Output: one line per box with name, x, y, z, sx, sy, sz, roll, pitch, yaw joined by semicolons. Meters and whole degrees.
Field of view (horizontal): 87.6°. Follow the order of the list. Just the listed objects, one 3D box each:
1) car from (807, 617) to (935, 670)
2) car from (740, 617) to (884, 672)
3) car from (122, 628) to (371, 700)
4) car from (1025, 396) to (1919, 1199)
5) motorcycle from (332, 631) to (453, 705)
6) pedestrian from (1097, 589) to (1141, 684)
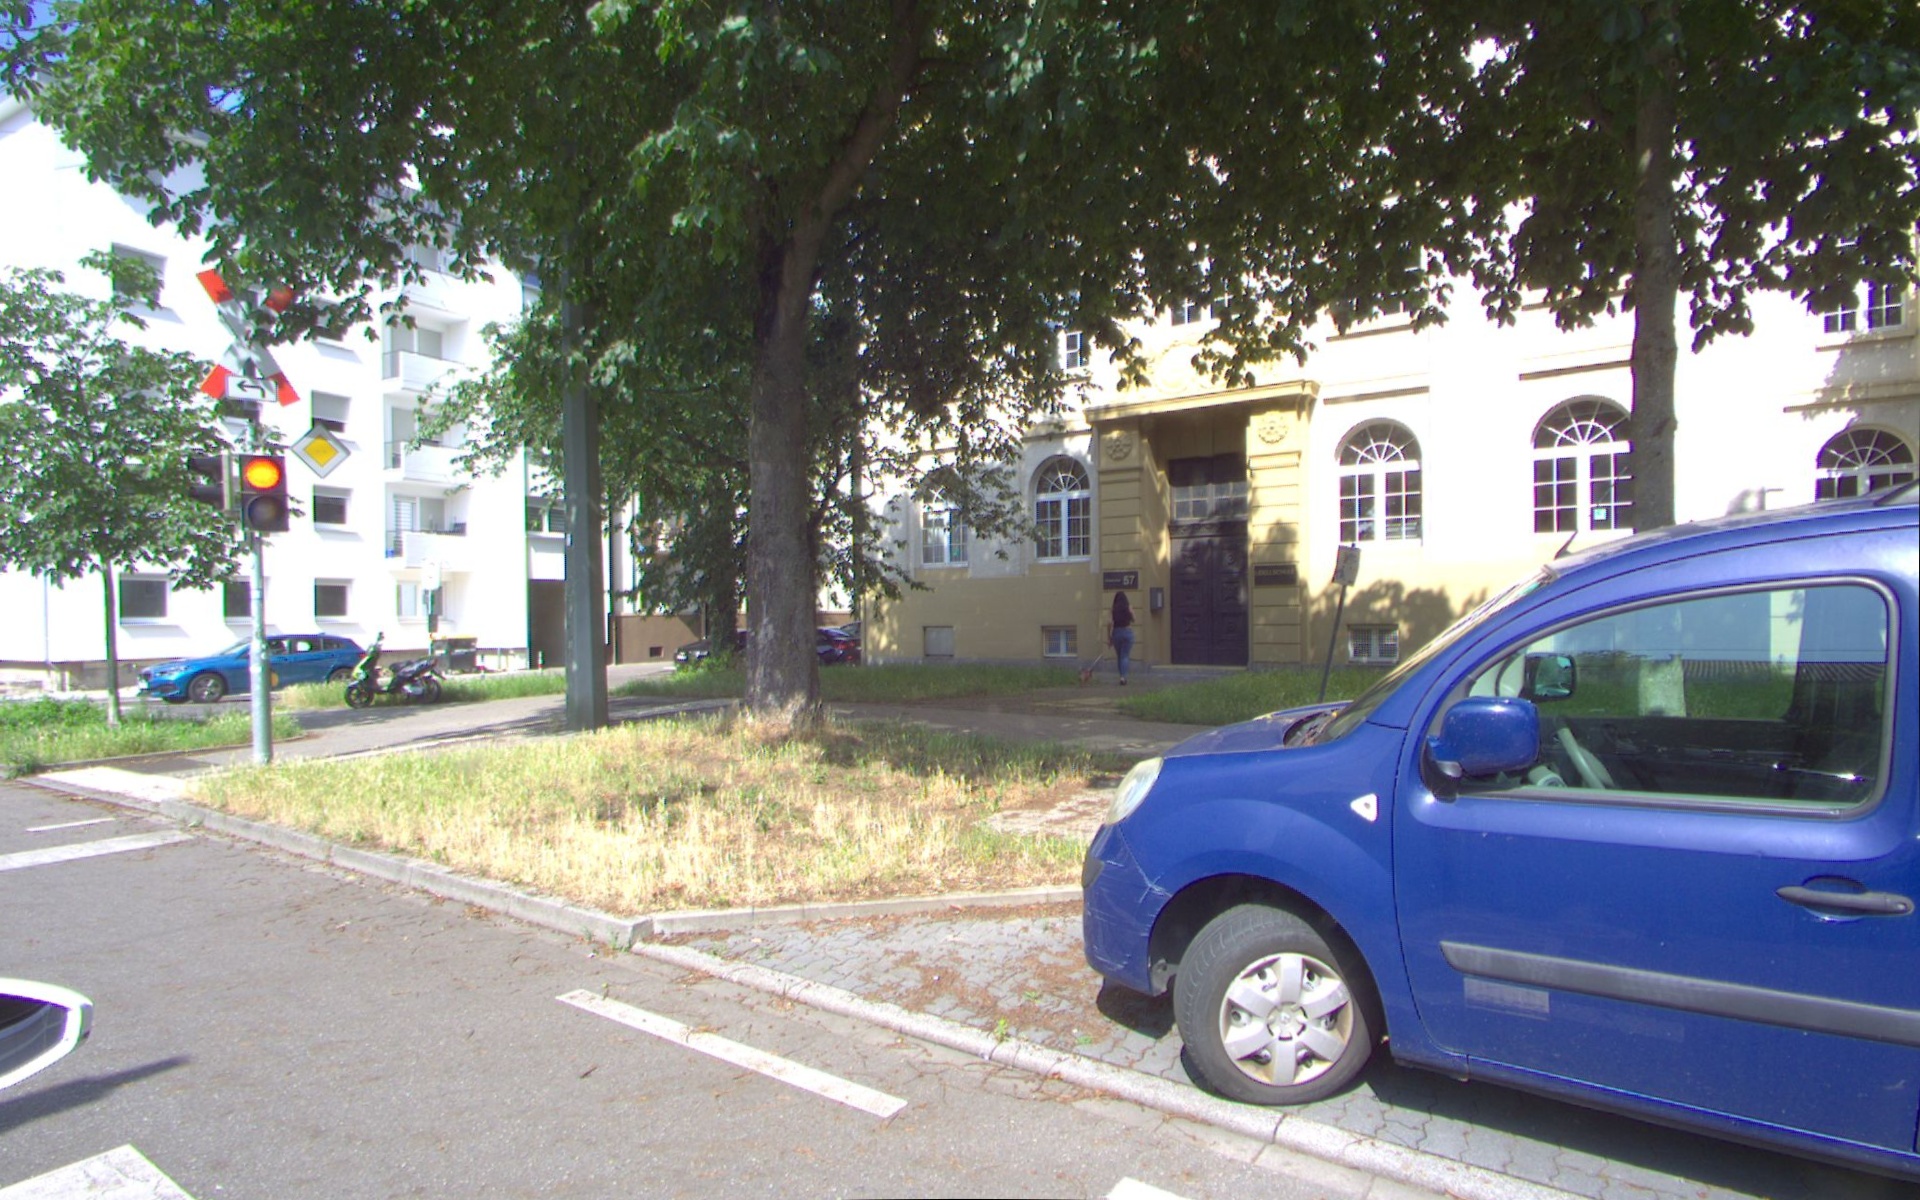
car;-2.822;1.318;31.339;3.955;1.560;1.797;-1;-1;42
car;-4.298;1.251;28.945;3.942;1.478;1.736;-1;0;32
car;-15.725;1.387;22.294;1.755;1.430;4.160;-1;-3;32
car;2.416;0.534;2.845;4.128;1.921;1.816;0;1;36
motorcycle;-10.391;1.234;18.362;1.811;1.233;0.571;-2;4;0
pedestrian;2.781;0.631;17.460;0.532;1.617;0.630;-1;0;31
